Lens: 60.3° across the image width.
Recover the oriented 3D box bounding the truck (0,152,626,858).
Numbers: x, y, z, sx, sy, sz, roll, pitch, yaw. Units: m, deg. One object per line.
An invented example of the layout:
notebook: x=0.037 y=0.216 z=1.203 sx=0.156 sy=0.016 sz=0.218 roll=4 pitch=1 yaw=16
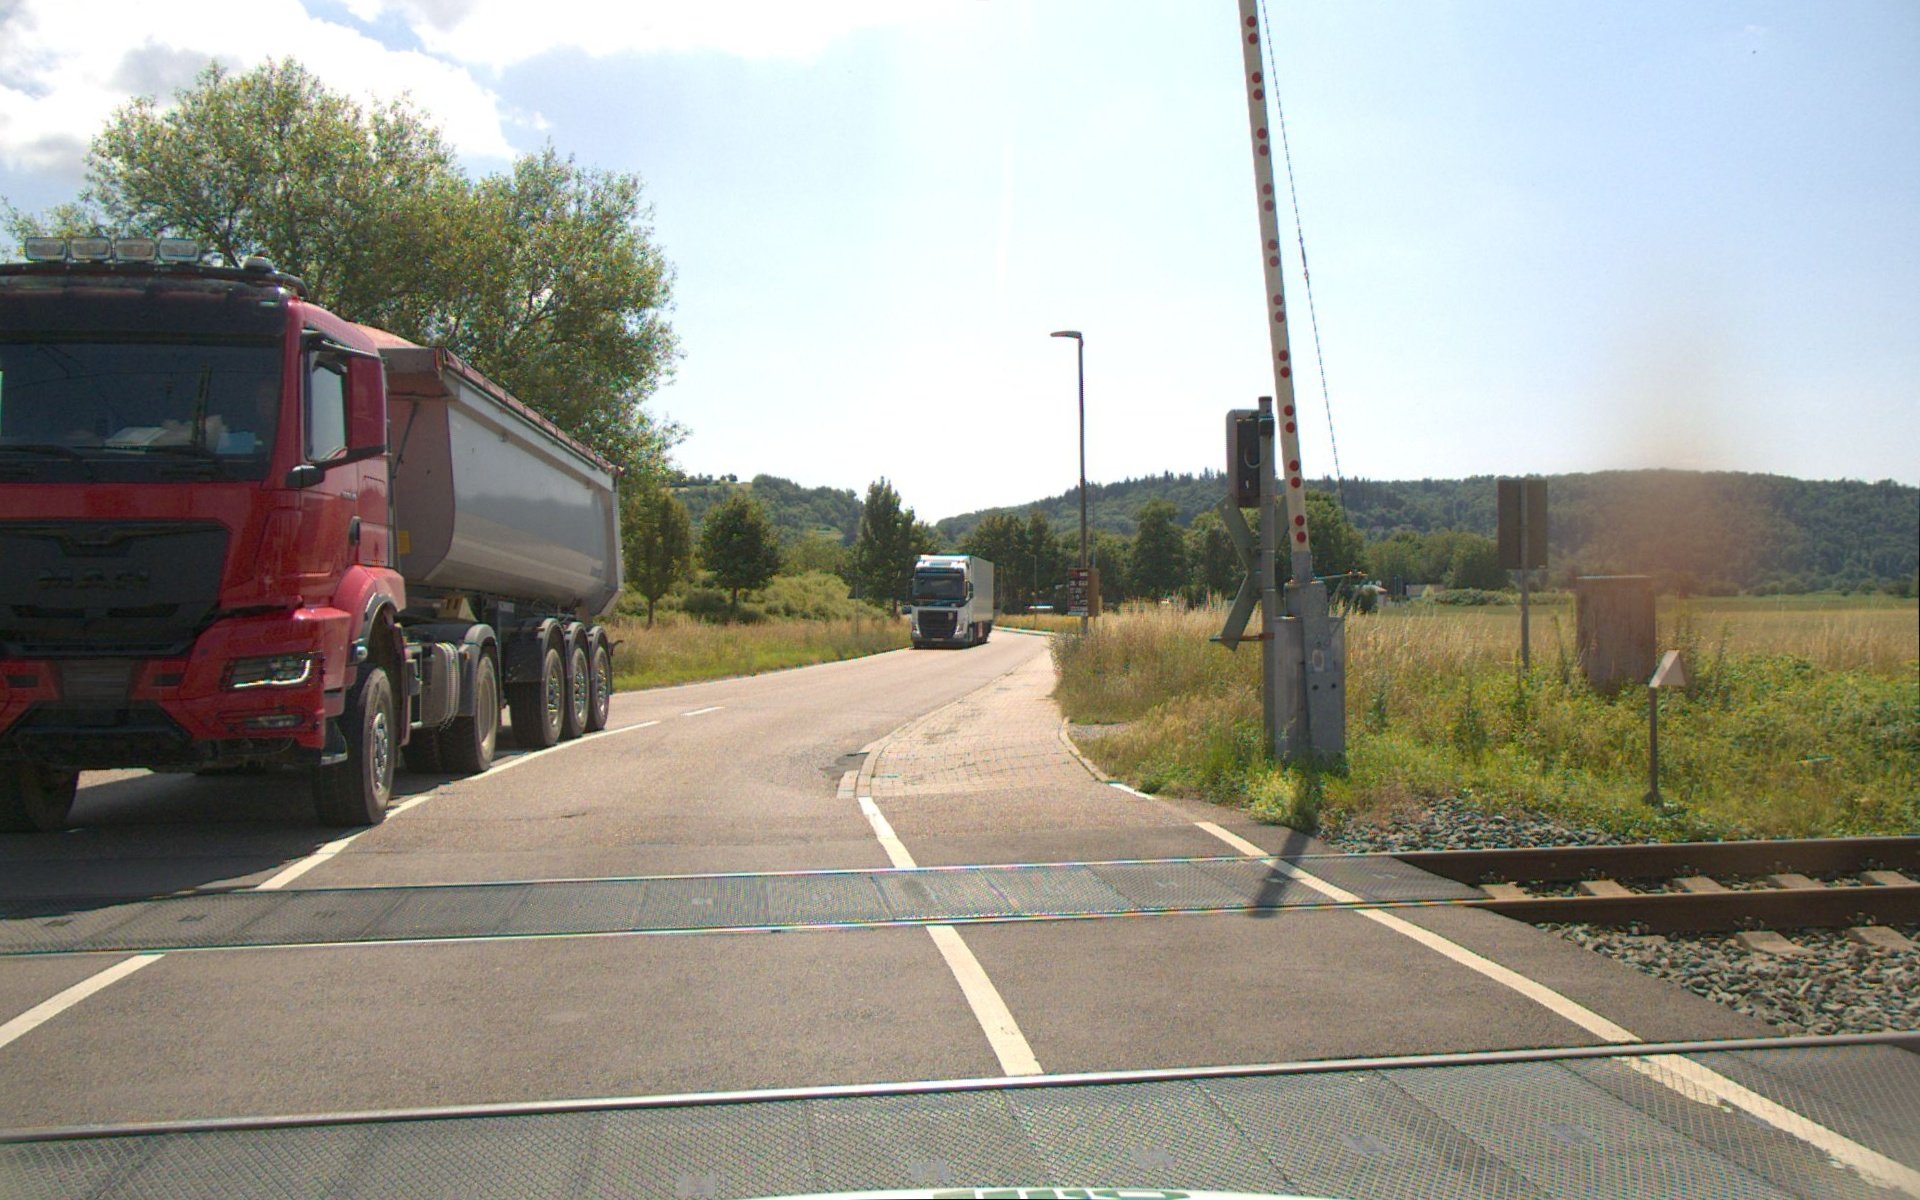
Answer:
truck: x=-5.349 y=-0.495 z=14.996 sx=2.815 sy=3.811 sz=12.141 roll=0 pitch=0 yaw=-3

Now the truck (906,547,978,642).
truck: x=-0.731 y=-0.220 z=73.400 sx=2.516 sy=4.017 sz=6.042 roll=-1 pitch=0 yaw=5

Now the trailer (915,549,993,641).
trailer: x=-0.145 y=-0.204 z=79.964 sx=2.529 sy=4.017 sz=13.066 roll=-1 pitch=0 yaw=5
